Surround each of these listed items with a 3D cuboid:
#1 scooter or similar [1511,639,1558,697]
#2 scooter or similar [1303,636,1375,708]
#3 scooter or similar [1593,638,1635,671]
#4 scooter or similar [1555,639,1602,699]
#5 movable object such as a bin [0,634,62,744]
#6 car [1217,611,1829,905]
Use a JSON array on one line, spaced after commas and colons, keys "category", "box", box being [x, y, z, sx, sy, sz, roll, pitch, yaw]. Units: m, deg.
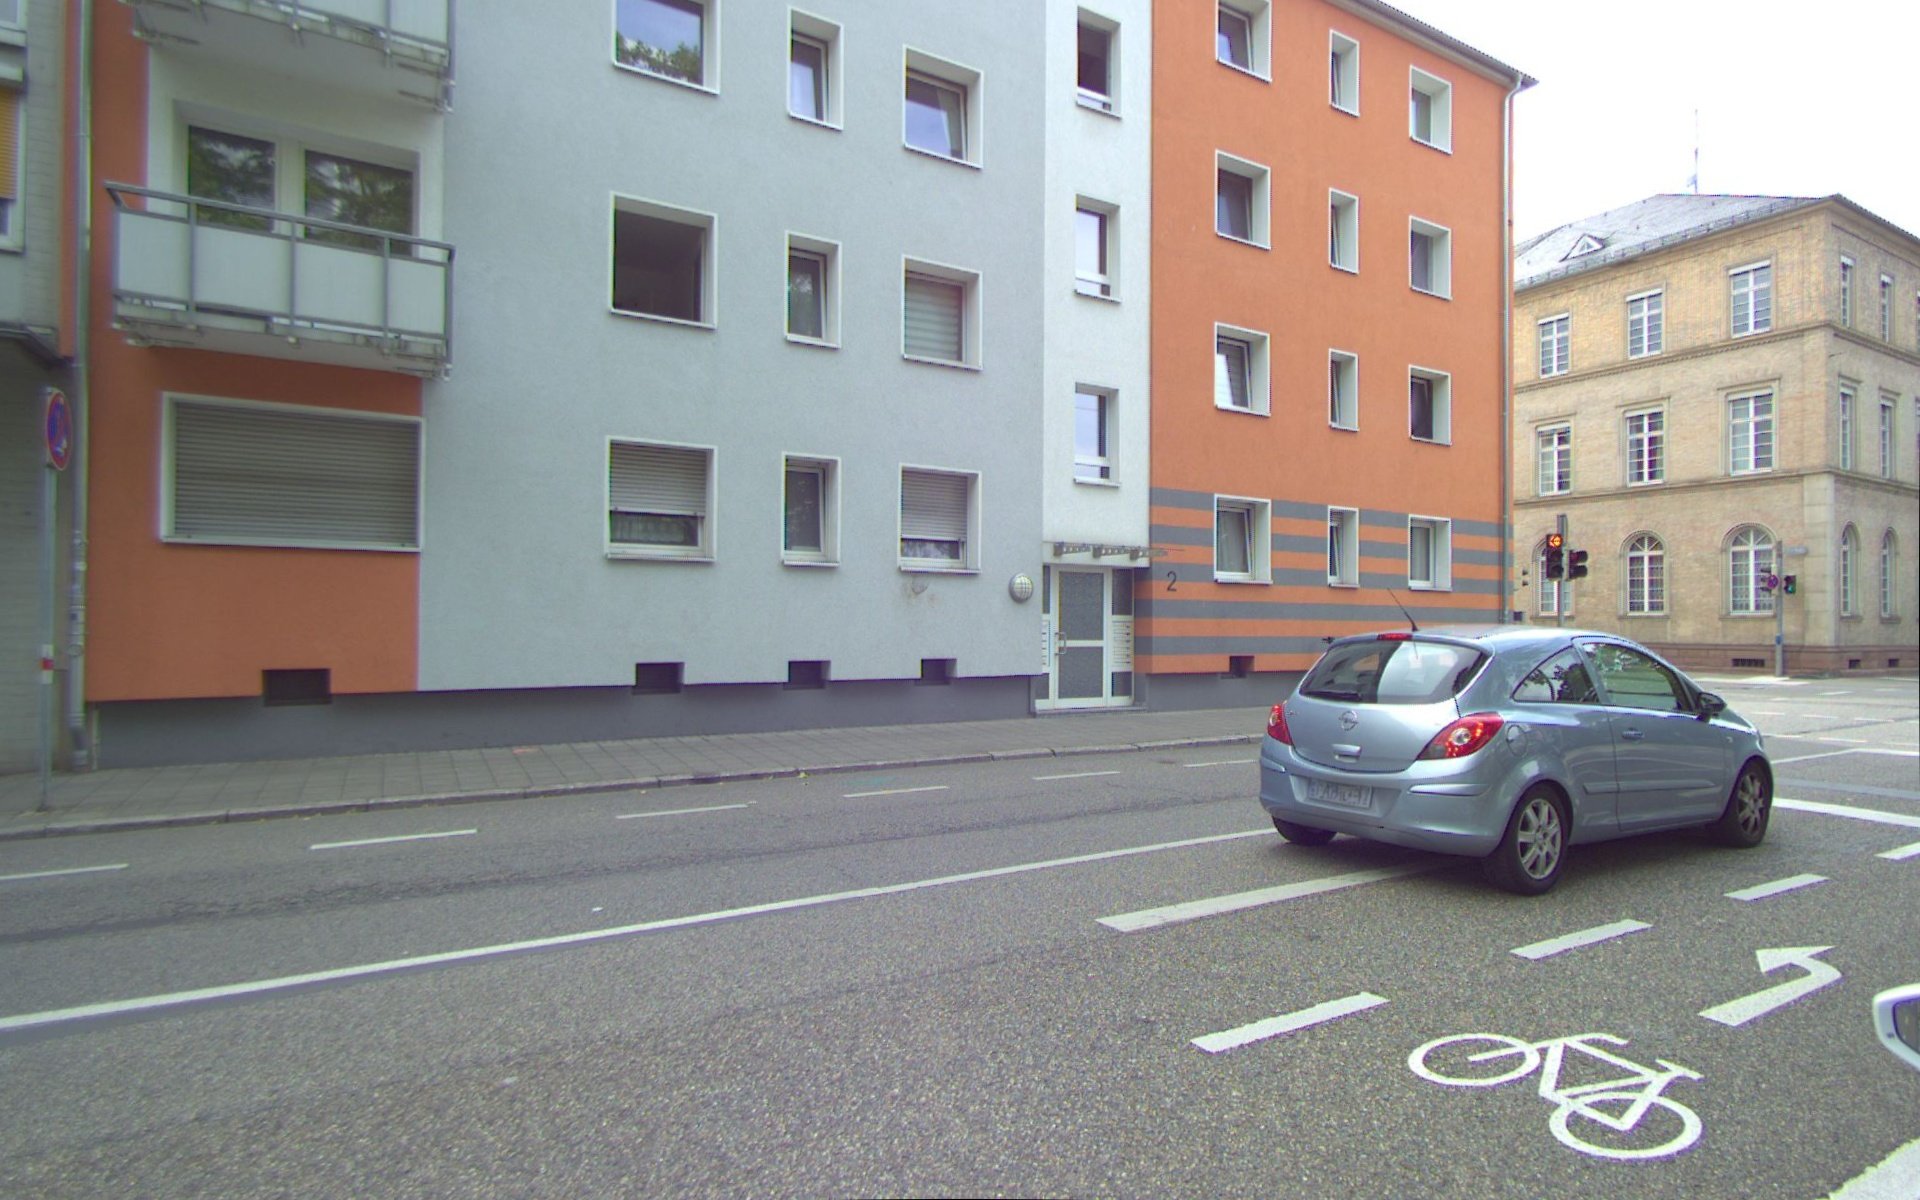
[{"category": "scooter or similar", "box": [11.738, 1.391, 20.515, 1.130, 1.162, 0.376, 3, -2, -34]}, {"category": "scooter or similar", "box": [6.520, 1.234, 17.261, 1.373, 1.199, 0.376, 3, -2, -30]}, {"category": "scooter or similar", "box": [21.863, 1.811, 33.590, 0.375, 1.063, 1.133, 2, -2, -29]}, {"category": "scooter or similar", "box": [12.485, 1.392, 20.272, 1.130, 1.159, 0.376, 3, -2, -34]}, {"category": "movable object such as a bin", "box": [-10.200, 0.935, 10.771, 0.701, 1.140, 0.639, 1, -1, -29]}, {"category": "car", "box": [3.881, 0.847, 6.758, 4.204, 1.439, 1.704, 1, -3, -31]}]
